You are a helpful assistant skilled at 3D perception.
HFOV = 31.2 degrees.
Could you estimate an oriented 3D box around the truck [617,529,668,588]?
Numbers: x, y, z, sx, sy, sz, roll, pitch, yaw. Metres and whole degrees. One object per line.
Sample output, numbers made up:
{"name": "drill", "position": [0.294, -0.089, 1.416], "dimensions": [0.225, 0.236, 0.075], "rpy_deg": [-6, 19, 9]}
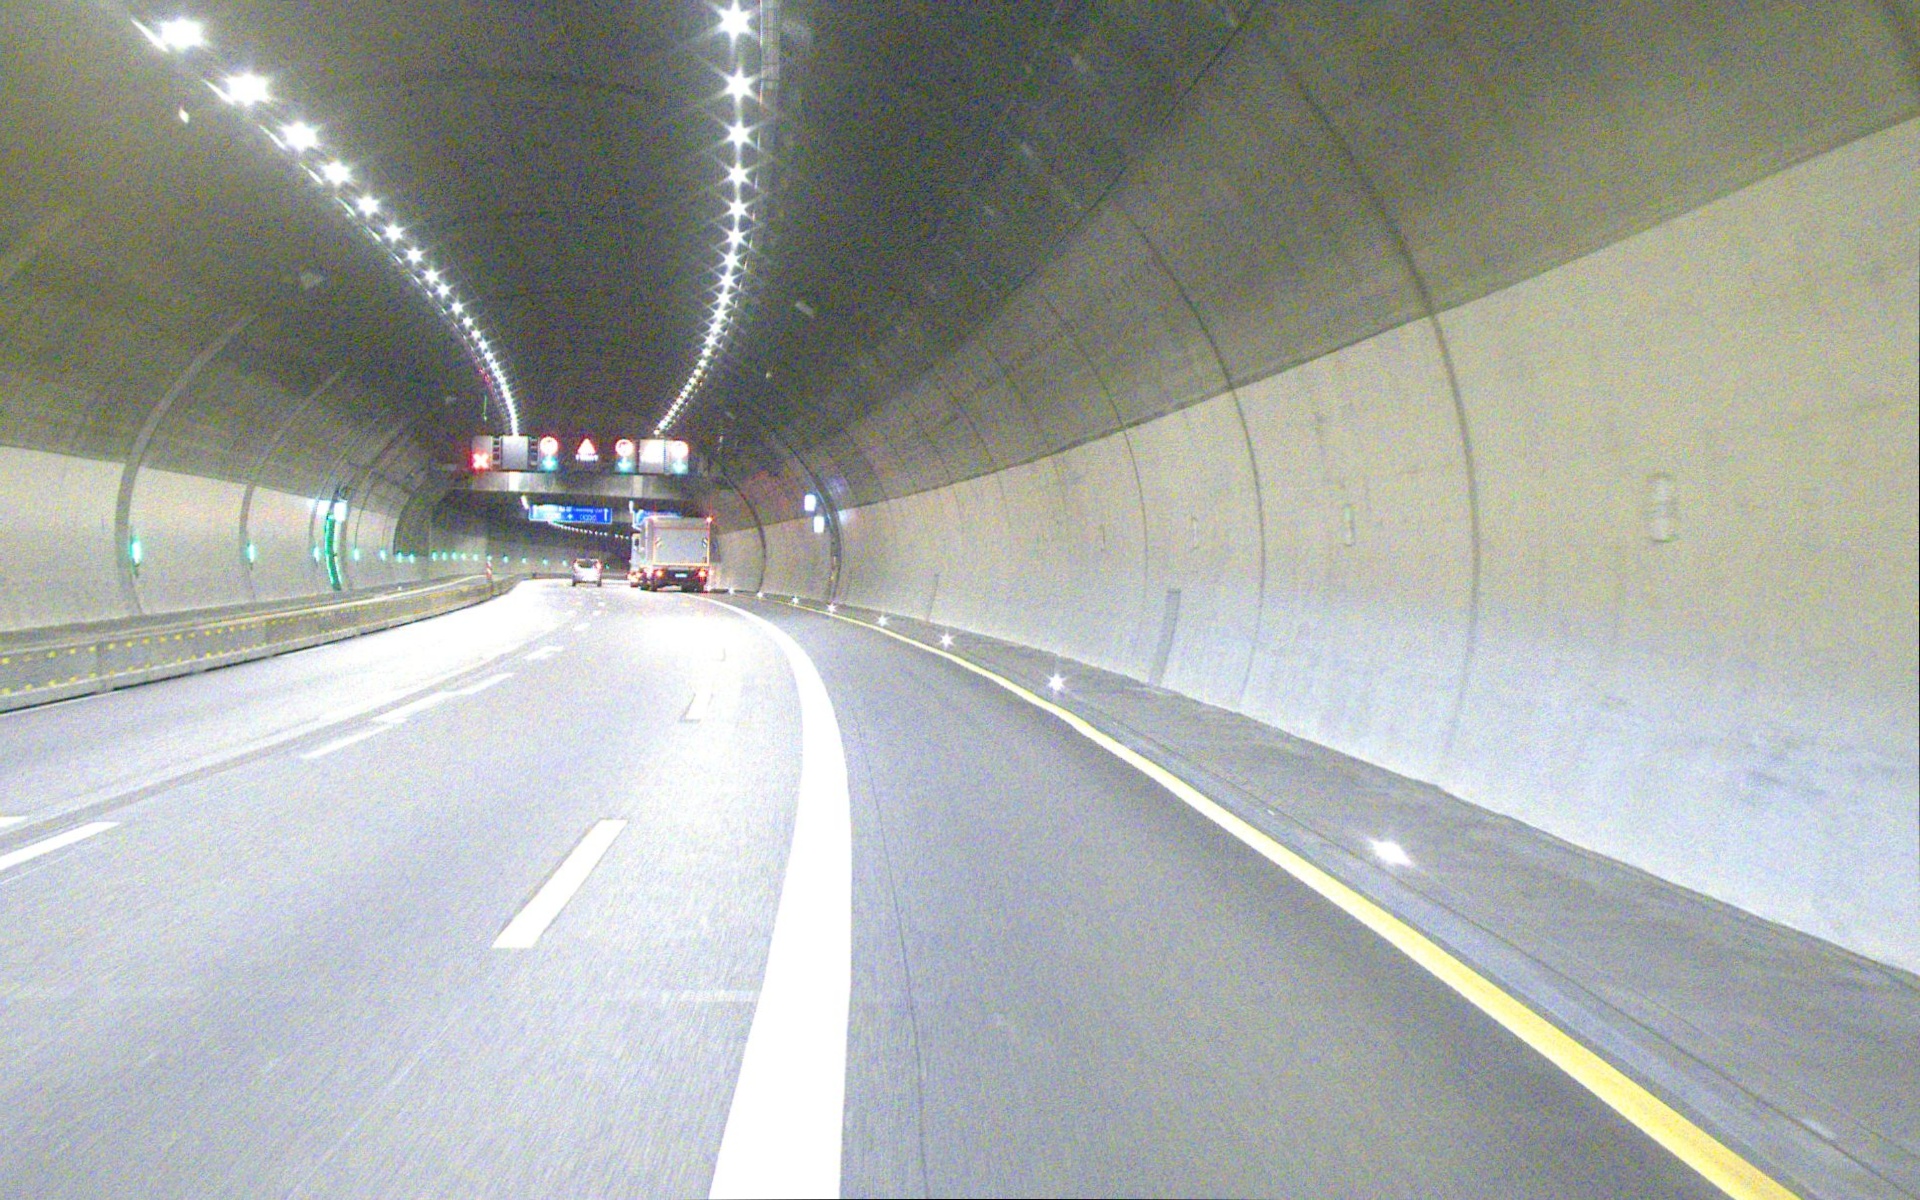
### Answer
{"name": "truck", "position": [-23.848, -3.144, 257.887], "dimensions": [3.473, 4.301, 10.954], "rpy_deg": [0, 1, -7]}

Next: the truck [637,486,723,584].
{"name": "truck", "position": [-13.067, -3.014, 159.698], "dimensions": [3.473, 4.301, 10.954], "rpy_deg": [1, 1, -7]}

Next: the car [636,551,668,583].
{"name": "car", "position": [-19.590, -2.098, 218.724], "dimensions": [1.993, 2.007, 4.001], "rpy_deg": [1, 1, -5]}

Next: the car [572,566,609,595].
{"name": "car", "position": [-21.233, -1.103, 197.429], "dimensions": [1.993, 1.576, 4.001], "rpy_deg": [2, 1, -7]}
